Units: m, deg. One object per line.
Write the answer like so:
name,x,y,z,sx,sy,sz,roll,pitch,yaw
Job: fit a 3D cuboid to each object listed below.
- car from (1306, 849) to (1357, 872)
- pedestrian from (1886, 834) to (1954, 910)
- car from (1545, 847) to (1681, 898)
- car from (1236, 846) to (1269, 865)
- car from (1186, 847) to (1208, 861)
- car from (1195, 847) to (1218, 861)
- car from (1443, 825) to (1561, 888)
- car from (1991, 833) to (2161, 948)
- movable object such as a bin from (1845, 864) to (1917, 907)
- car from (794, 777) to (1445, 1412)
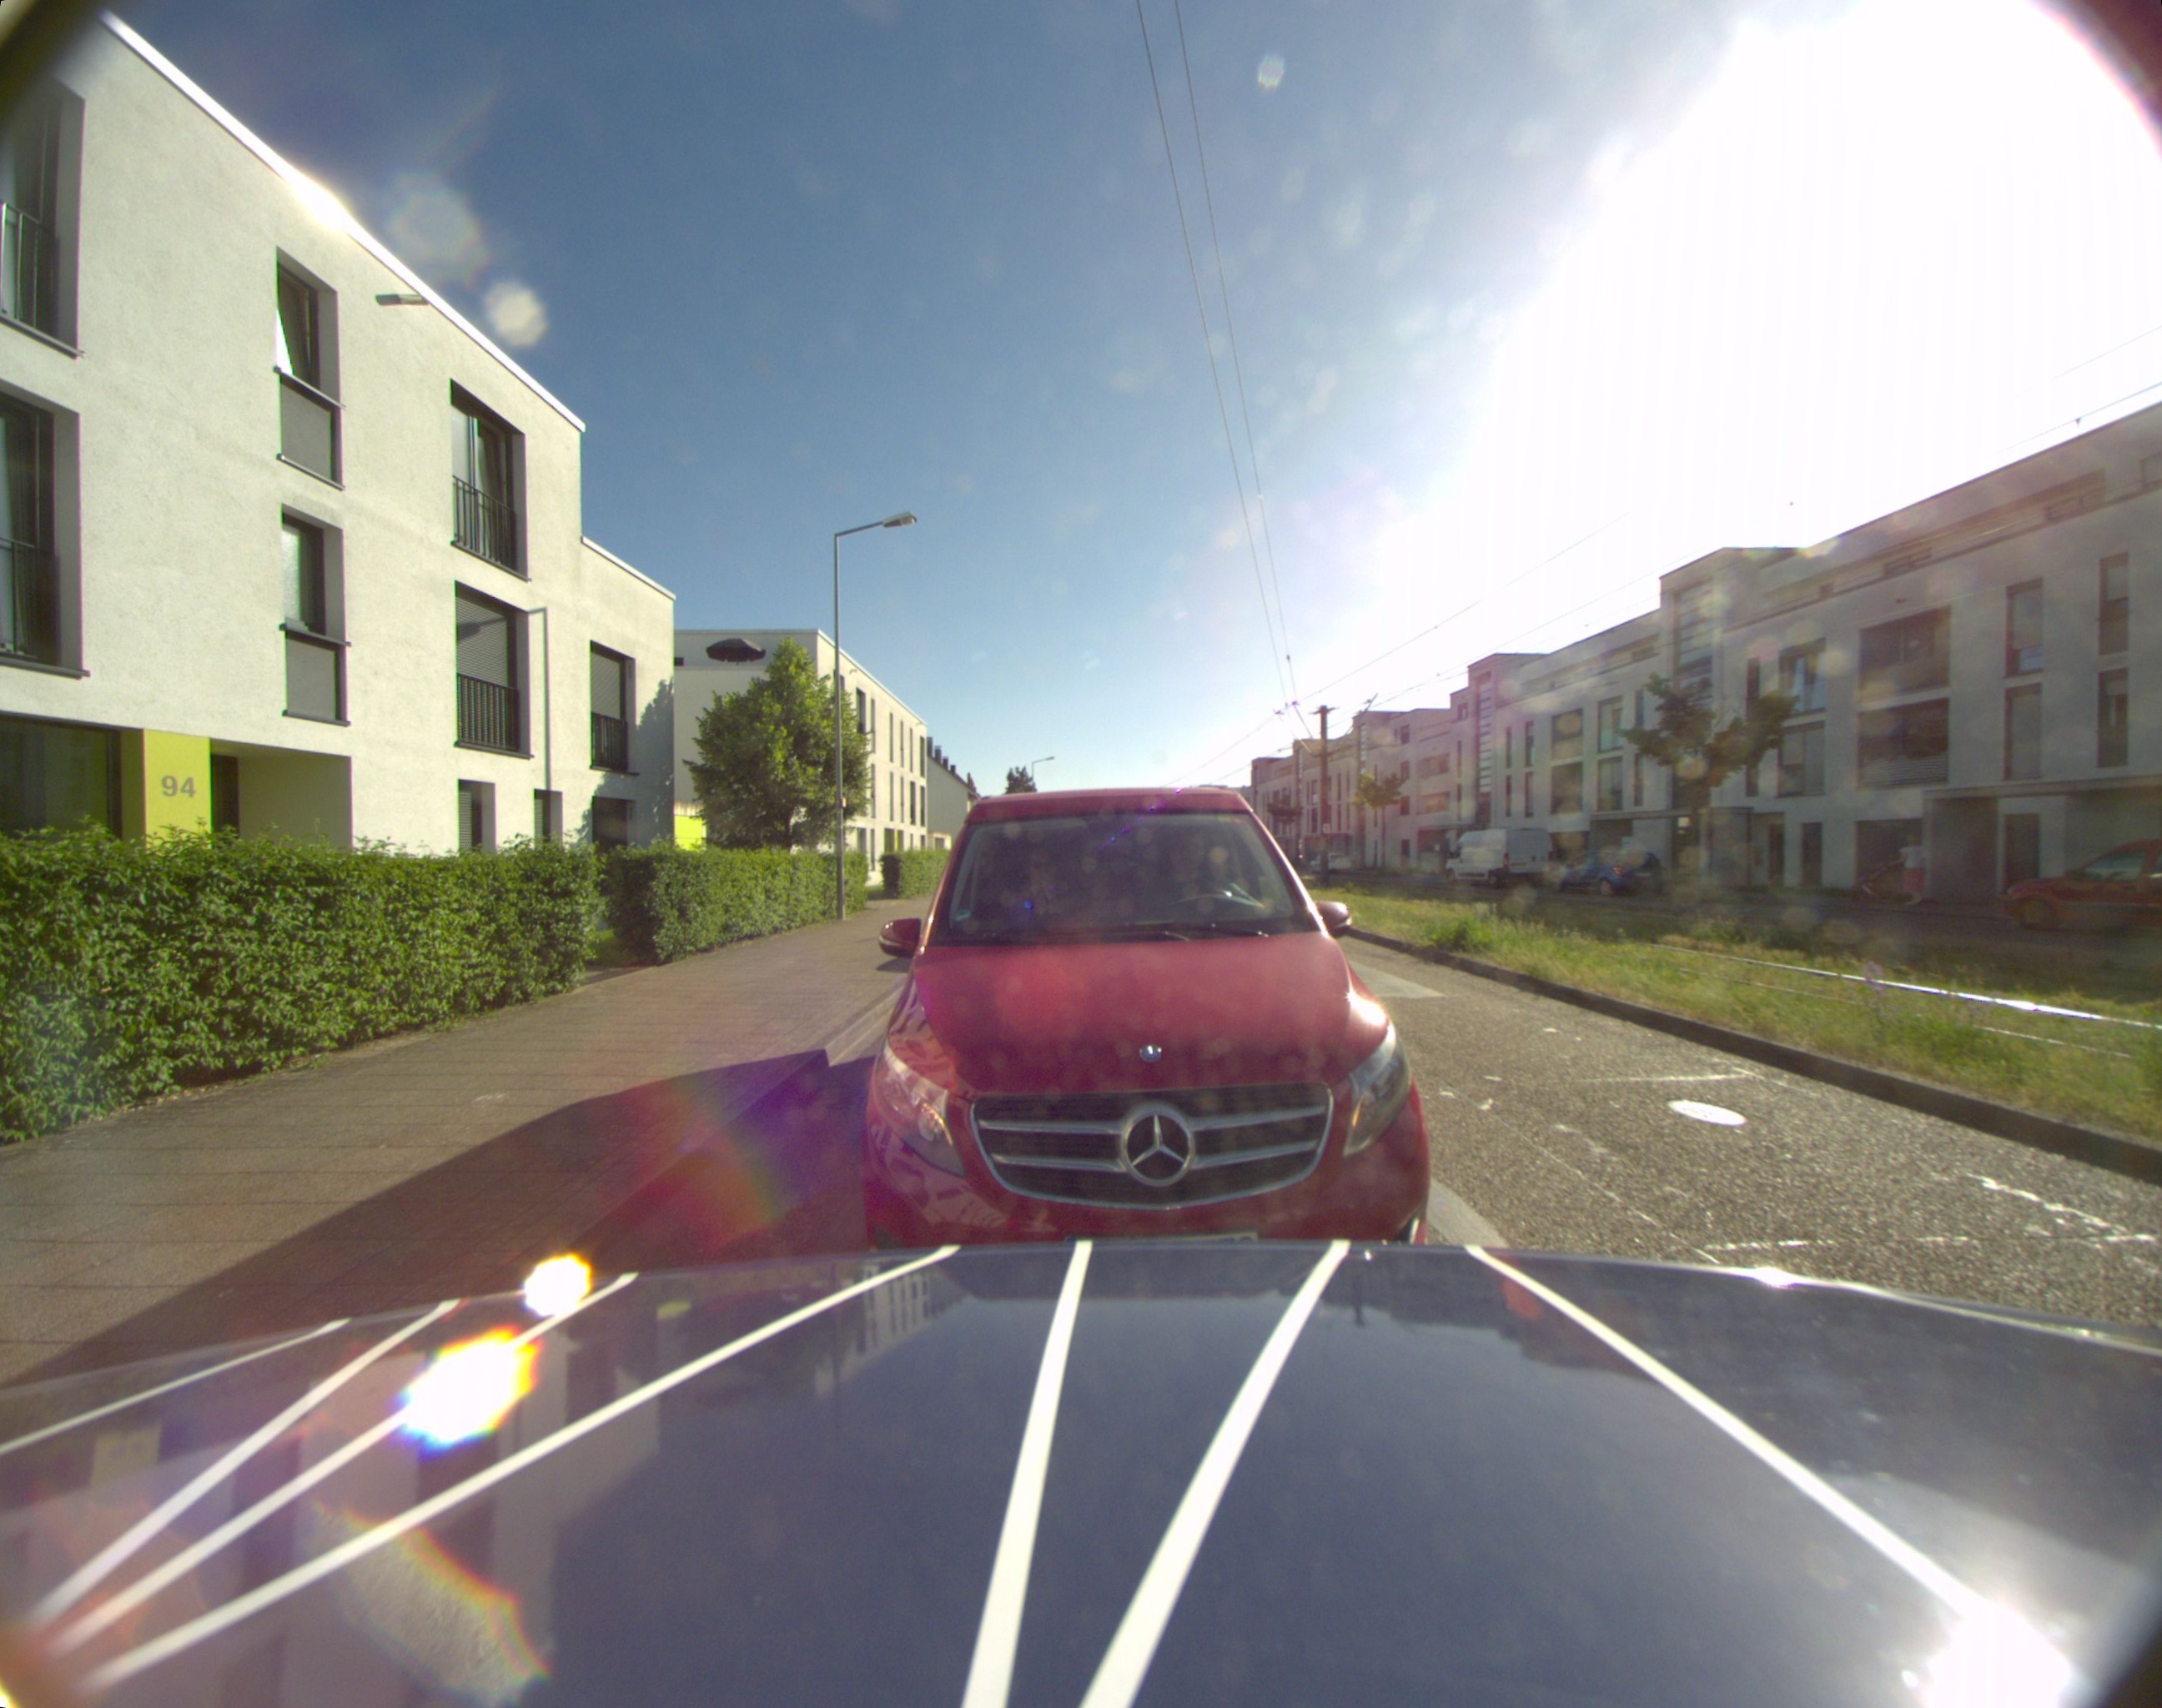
car,17.631,0.420,53.714,1.923,1.497,4.282,-2,1,-4
pedestrian,20.678,0.430,18.746,0.776,1.812,0.785,-2,1,1
car,18.374,0.580,26.474,1.999,1.536,3.835,-2,1,0
car,16.715,0.139,74.329,1.923,1.671,4.282,-2,1,-4
car,15.184,-0.053,99.632,1.923,1.671,4.282,-2,1,-4
car,15.470,-0.031,93.880,1.923,1.671,4.282,-2,1,-4
car,18.166,0.079,33.145,2.225,2.458,5.195,-2,1,0
car,18.614,0.582,12.783,1.998,1.817,3.895,-2,1,3
movable object such as a bin,20.711,0.798,19.697,0.729,1.048,1.083,-2,1,1
car,0.150,0.705,4.520,1.874,1.843,4.506,-2,1,1
